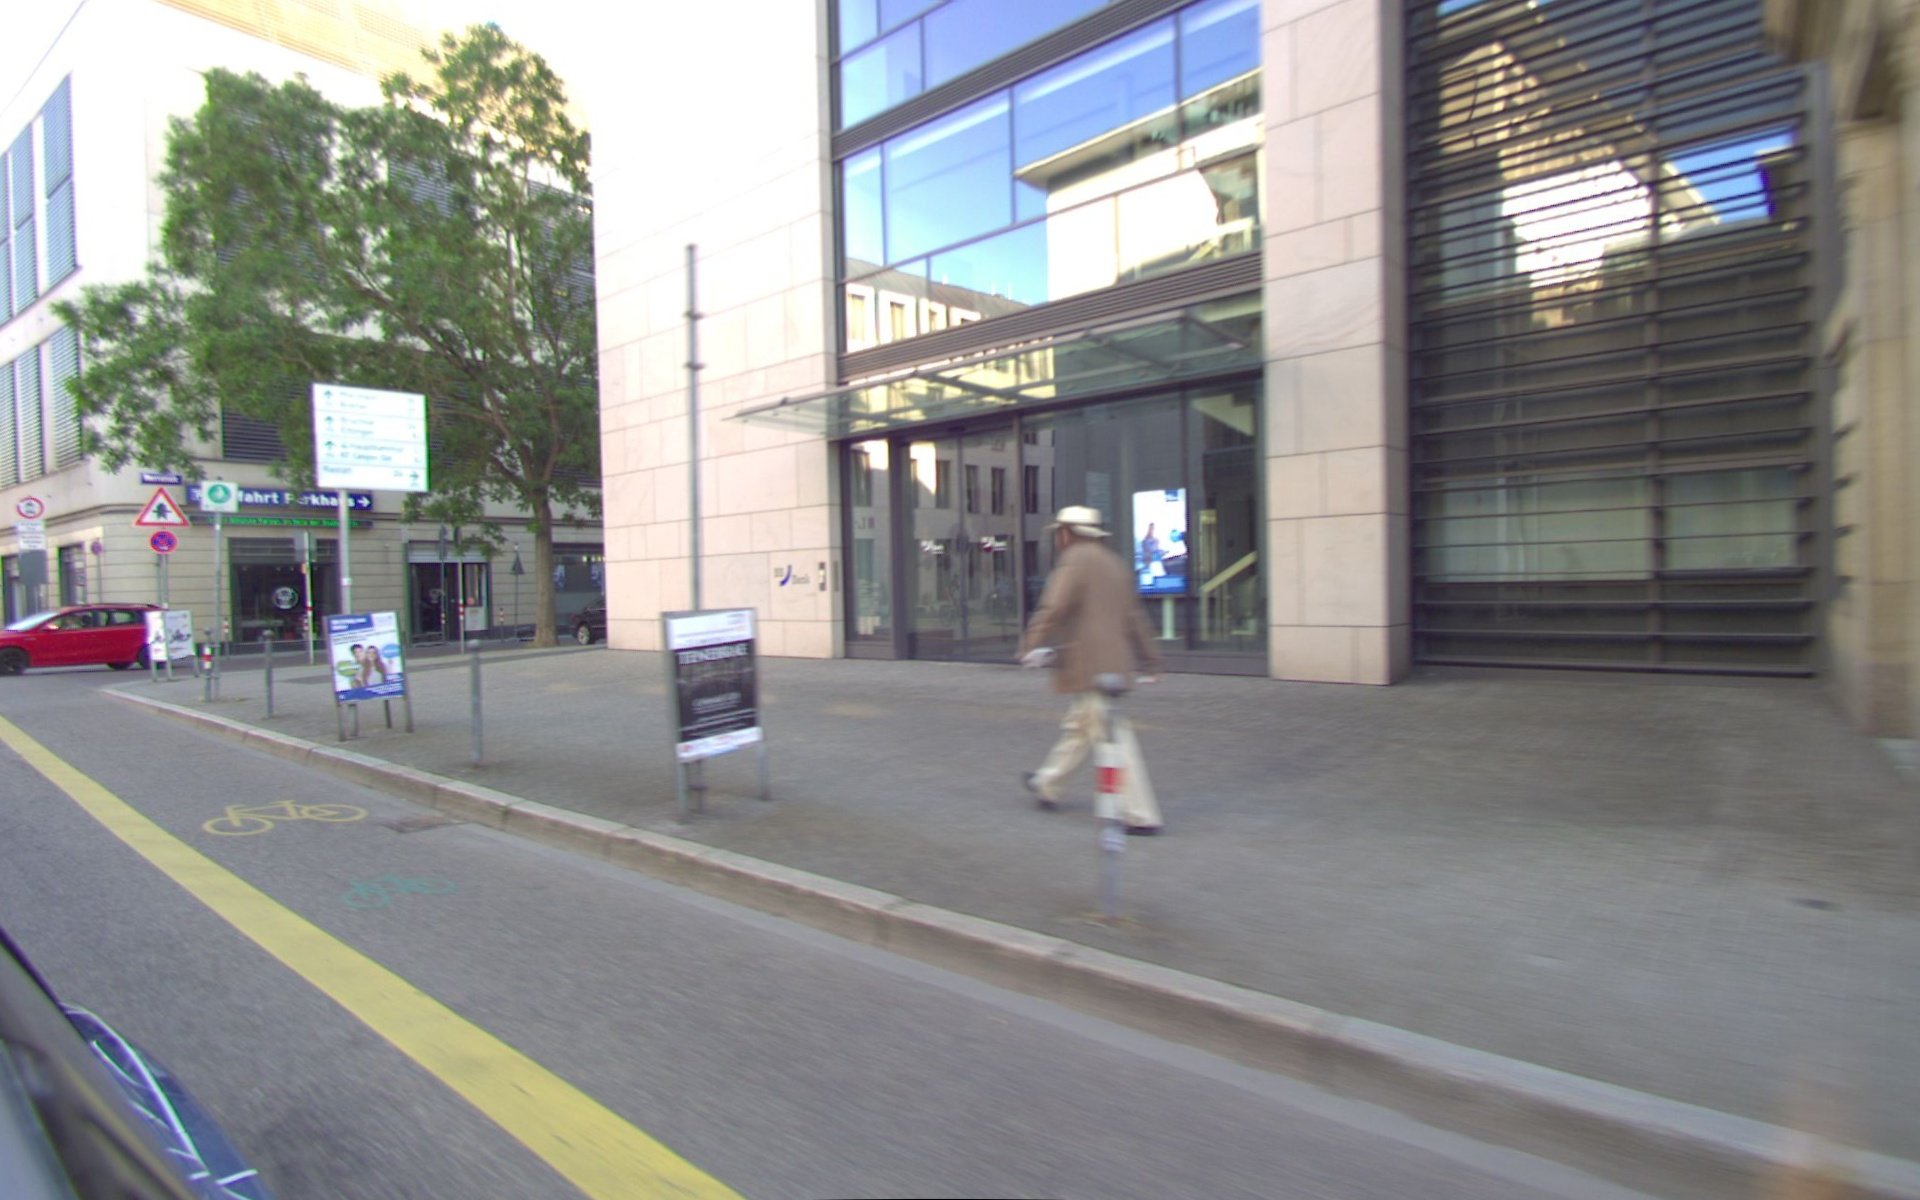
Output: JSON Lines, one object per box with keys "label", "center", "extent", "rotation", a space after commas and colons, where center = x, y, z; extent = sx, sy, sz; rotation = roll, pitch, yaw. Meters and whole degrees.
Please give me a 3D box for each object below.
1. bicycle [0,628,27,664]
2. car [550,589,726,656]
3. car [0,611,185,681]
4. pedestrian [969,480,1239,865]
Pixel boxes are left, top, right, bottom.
{"label": "bicycle", "center": [-29.512, 1.428, 30.870], "extent": [1.493, 1.041, 0.354], "rotation": [-2, 0, -33]}
{"label": "car", "center": [-8.955, 0.647, 27.985], "extent": [5.008, 1.463, 1.977], "rotation": [-5, -3, 35]}
{"label": "car", "center": [-20.243, 0.980, 22.665], "extent": [1.819, 1.476, 4.224], "rotation": [-1, -1, 27]}
{"label": "pedestrian", "center": [0.766, 0.315, 5.411], "extent": [1.074, 1.813, 0.832], "rotation": [0, 4, 44]}
